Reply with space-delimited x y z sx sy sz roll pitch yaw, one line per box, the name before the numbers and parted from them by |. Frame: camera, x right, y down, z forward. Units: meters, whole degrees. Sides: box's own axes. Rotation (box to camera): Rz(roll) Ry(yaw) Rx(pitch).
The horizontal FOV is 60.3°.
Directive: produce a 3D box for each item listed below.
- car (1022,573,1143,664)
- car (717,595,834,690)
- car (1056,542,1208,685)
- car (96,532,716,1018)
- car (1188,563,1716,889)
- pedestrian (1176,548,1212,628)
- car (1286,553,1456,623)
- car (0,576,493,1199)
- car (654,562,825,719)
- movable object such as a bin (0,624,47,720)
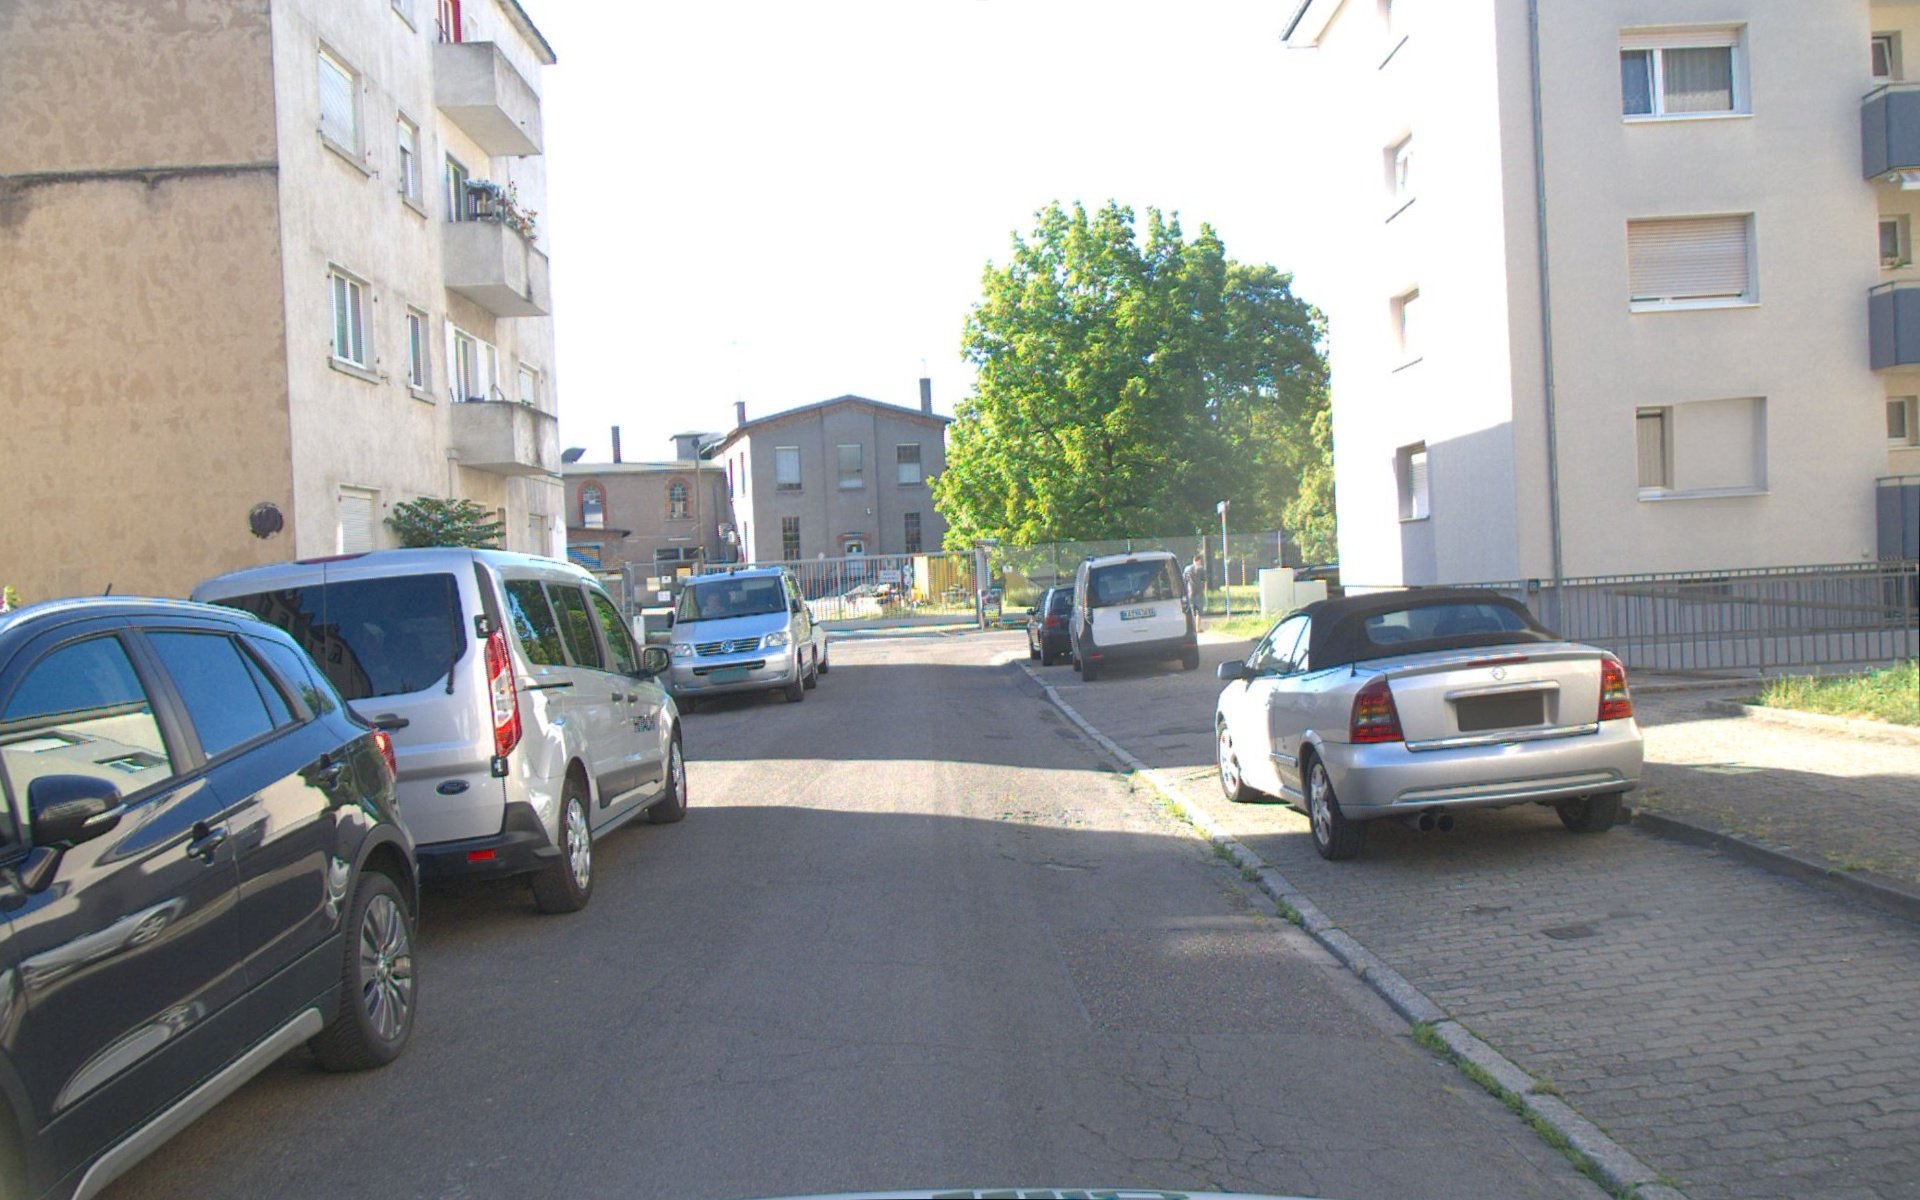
car | 2.275 0.307 31.699 1.762 1.439 4.048 -6 1 -2
car | -3.358 0.737 30.770 1.653 1.484 3.721 -5 1 0
car | 2.618 0.162 26.124 1.762 1.877 4.539 -6 1 0
car | -2.700 0.710 9.467 1.764 1.861 4.948 -6 1 -1
car | 2.722 0.597 10.276 1.708 1.430 4.312 -5 1 -3
pedestrian | 5.470 -0.288 38.575 0.631 1.802 0.842 -3 1 16
car | 10.773 -0.333 43.501 3.991 1.575 1.622 -3 1 -3
car | -2.587 0.861 4.021 1.641 1.617 4.163 -8 1 -2
car | -3.205 0.525 24.990 1.912 1.966 4.855 -5 1 -2
movable object such as a bin | -10.752 0.816 17.808 1.107 1.016 1.203 -5 0 -1
